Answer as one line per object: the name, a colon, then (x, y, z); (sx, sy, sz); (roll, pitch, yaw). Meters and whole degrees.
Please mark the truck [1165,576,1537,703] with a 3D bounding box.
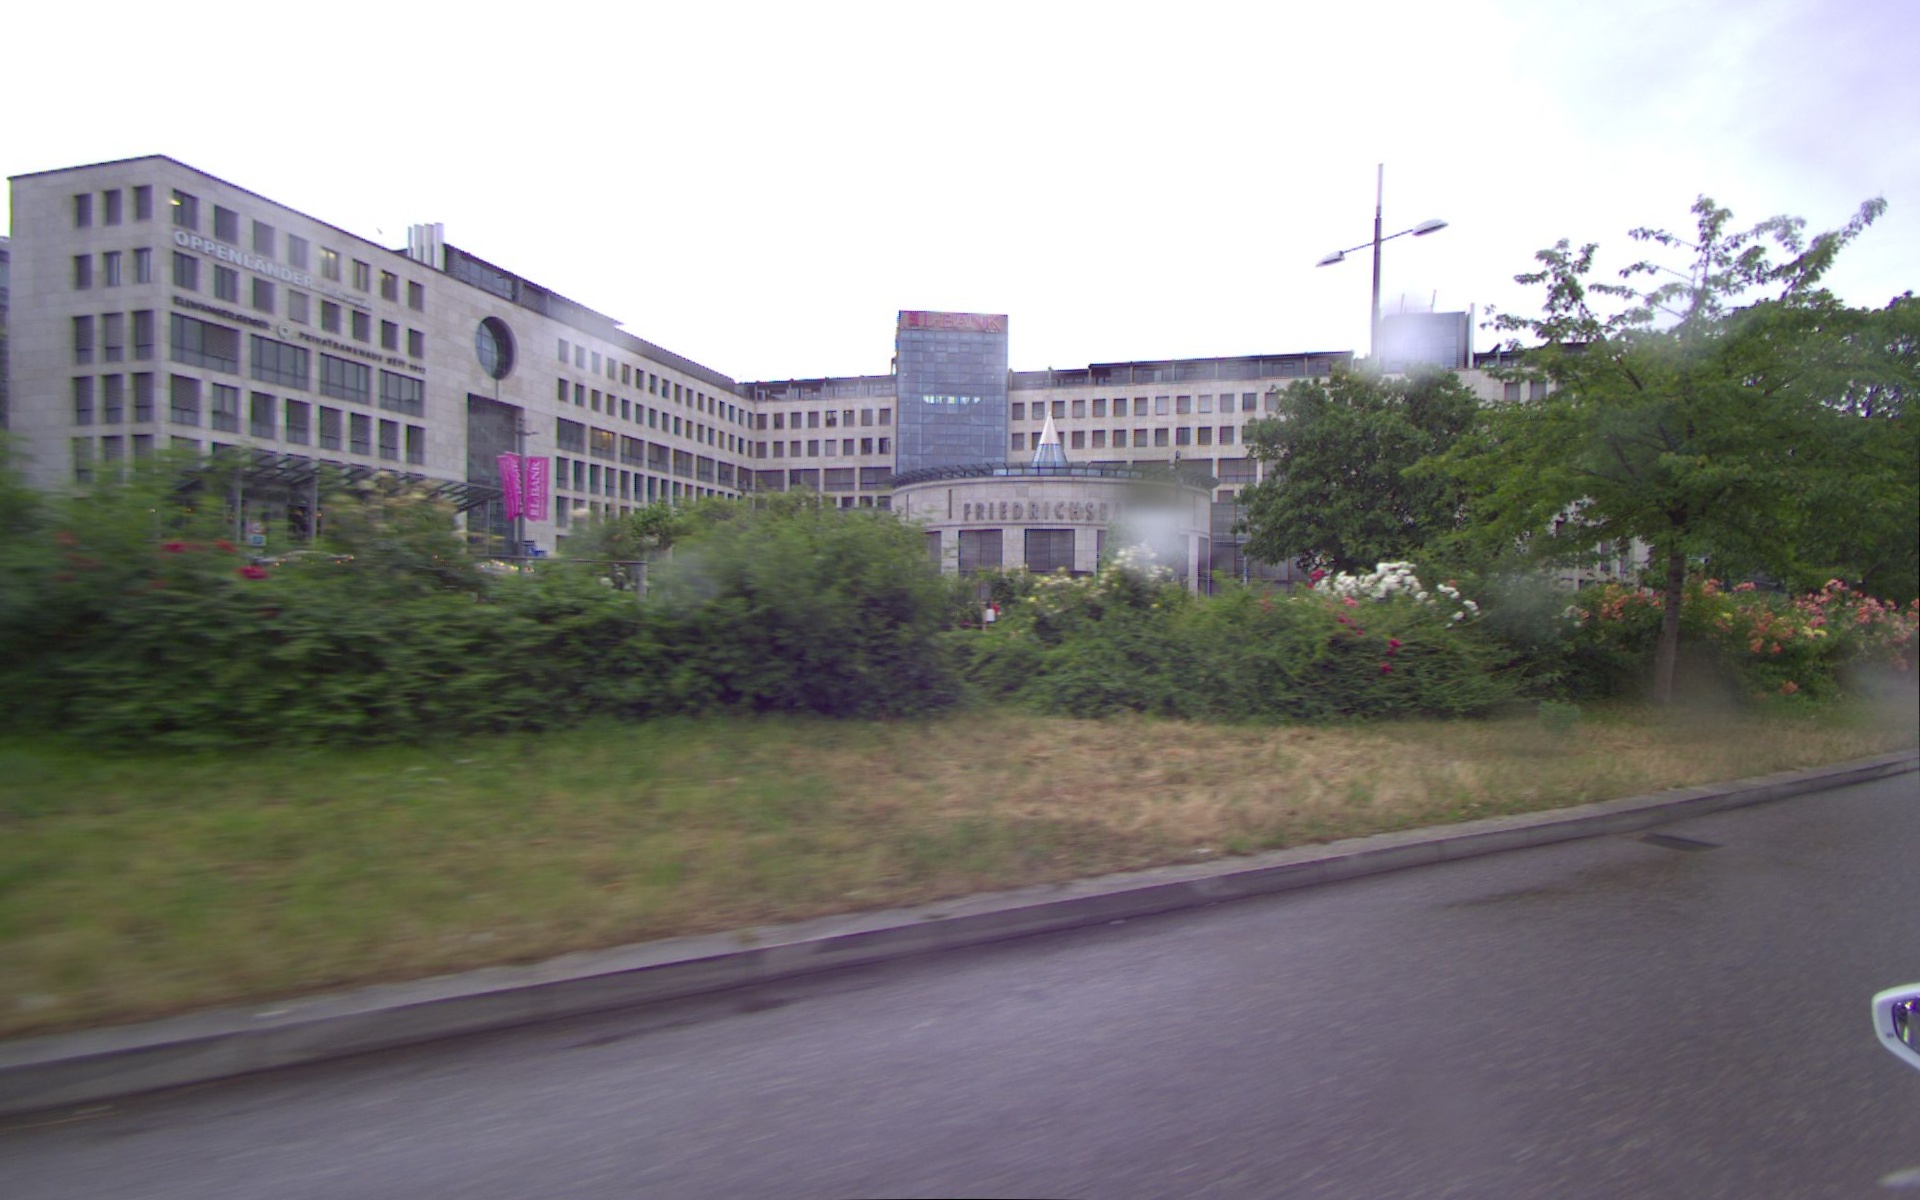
truck: (9.167, 0.901, 23.383); (8.366, 2.544, 3.355); (2, -1, -27)
